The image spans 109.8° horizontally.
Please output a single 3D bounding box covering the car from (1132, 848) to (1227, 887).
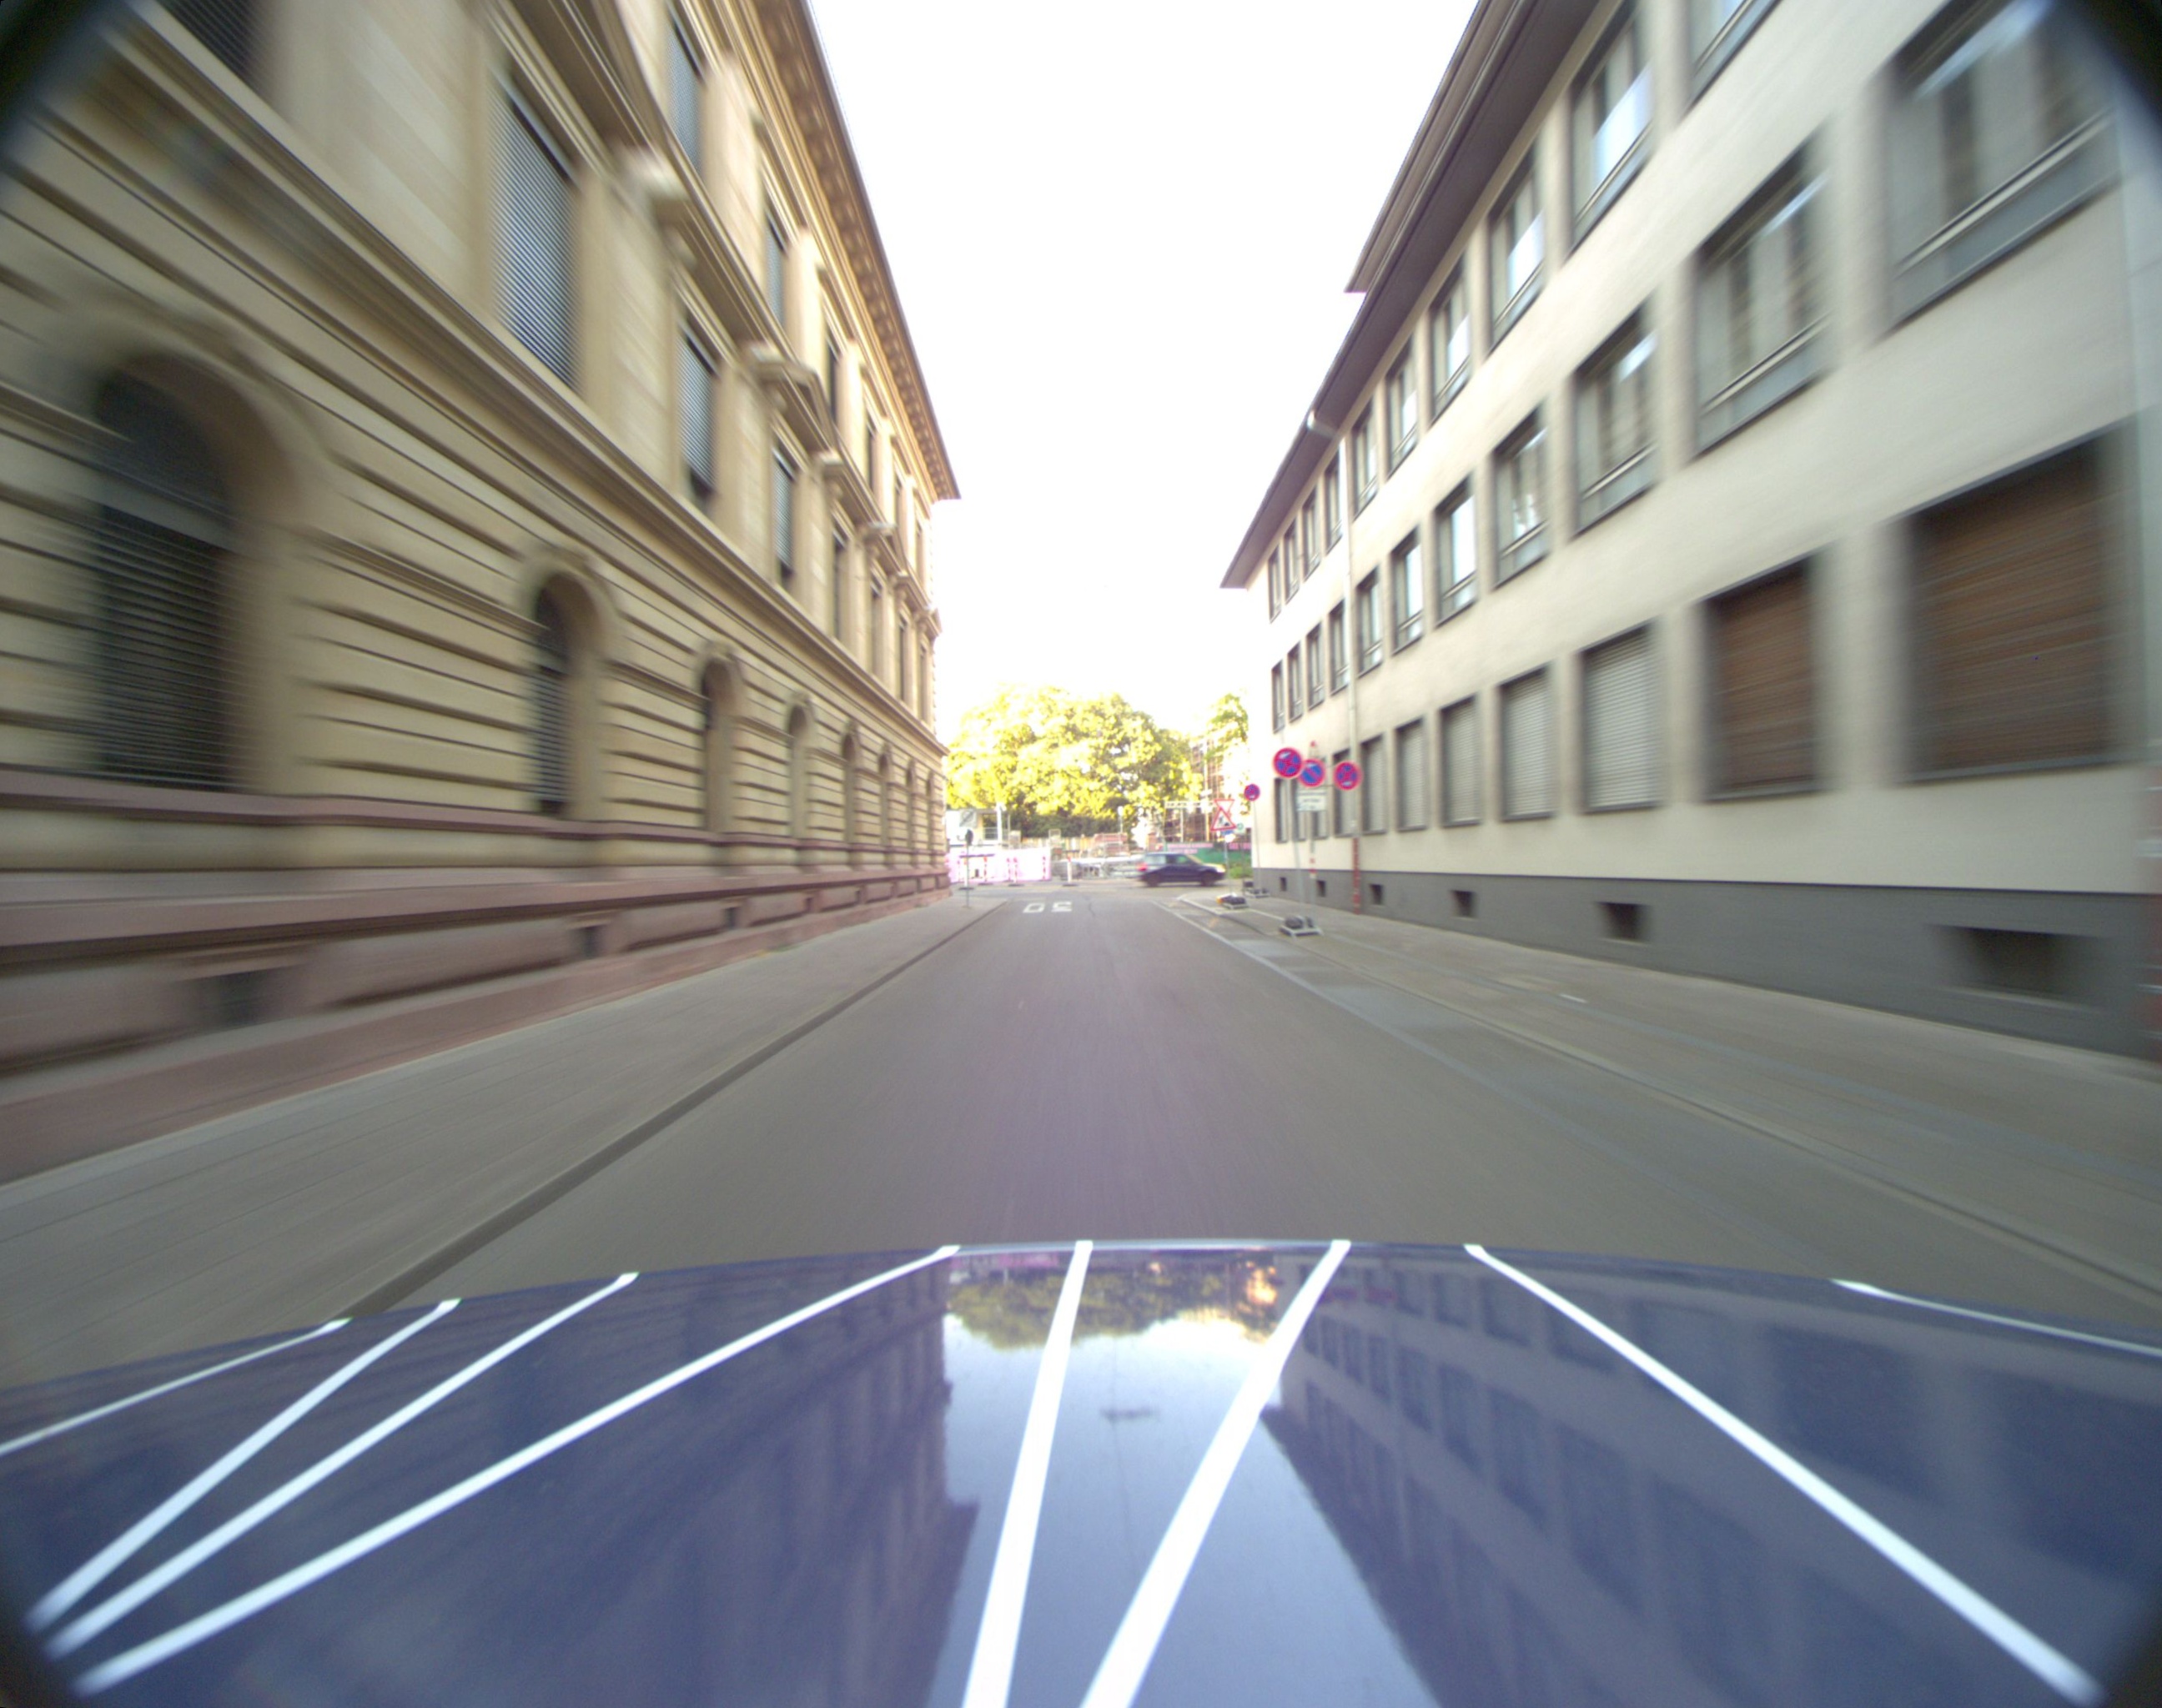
[{"bbox_3d":[4.575,0.630,35.815,4.248,1.648,1.937,-2,0,3],"label":"car"}]
